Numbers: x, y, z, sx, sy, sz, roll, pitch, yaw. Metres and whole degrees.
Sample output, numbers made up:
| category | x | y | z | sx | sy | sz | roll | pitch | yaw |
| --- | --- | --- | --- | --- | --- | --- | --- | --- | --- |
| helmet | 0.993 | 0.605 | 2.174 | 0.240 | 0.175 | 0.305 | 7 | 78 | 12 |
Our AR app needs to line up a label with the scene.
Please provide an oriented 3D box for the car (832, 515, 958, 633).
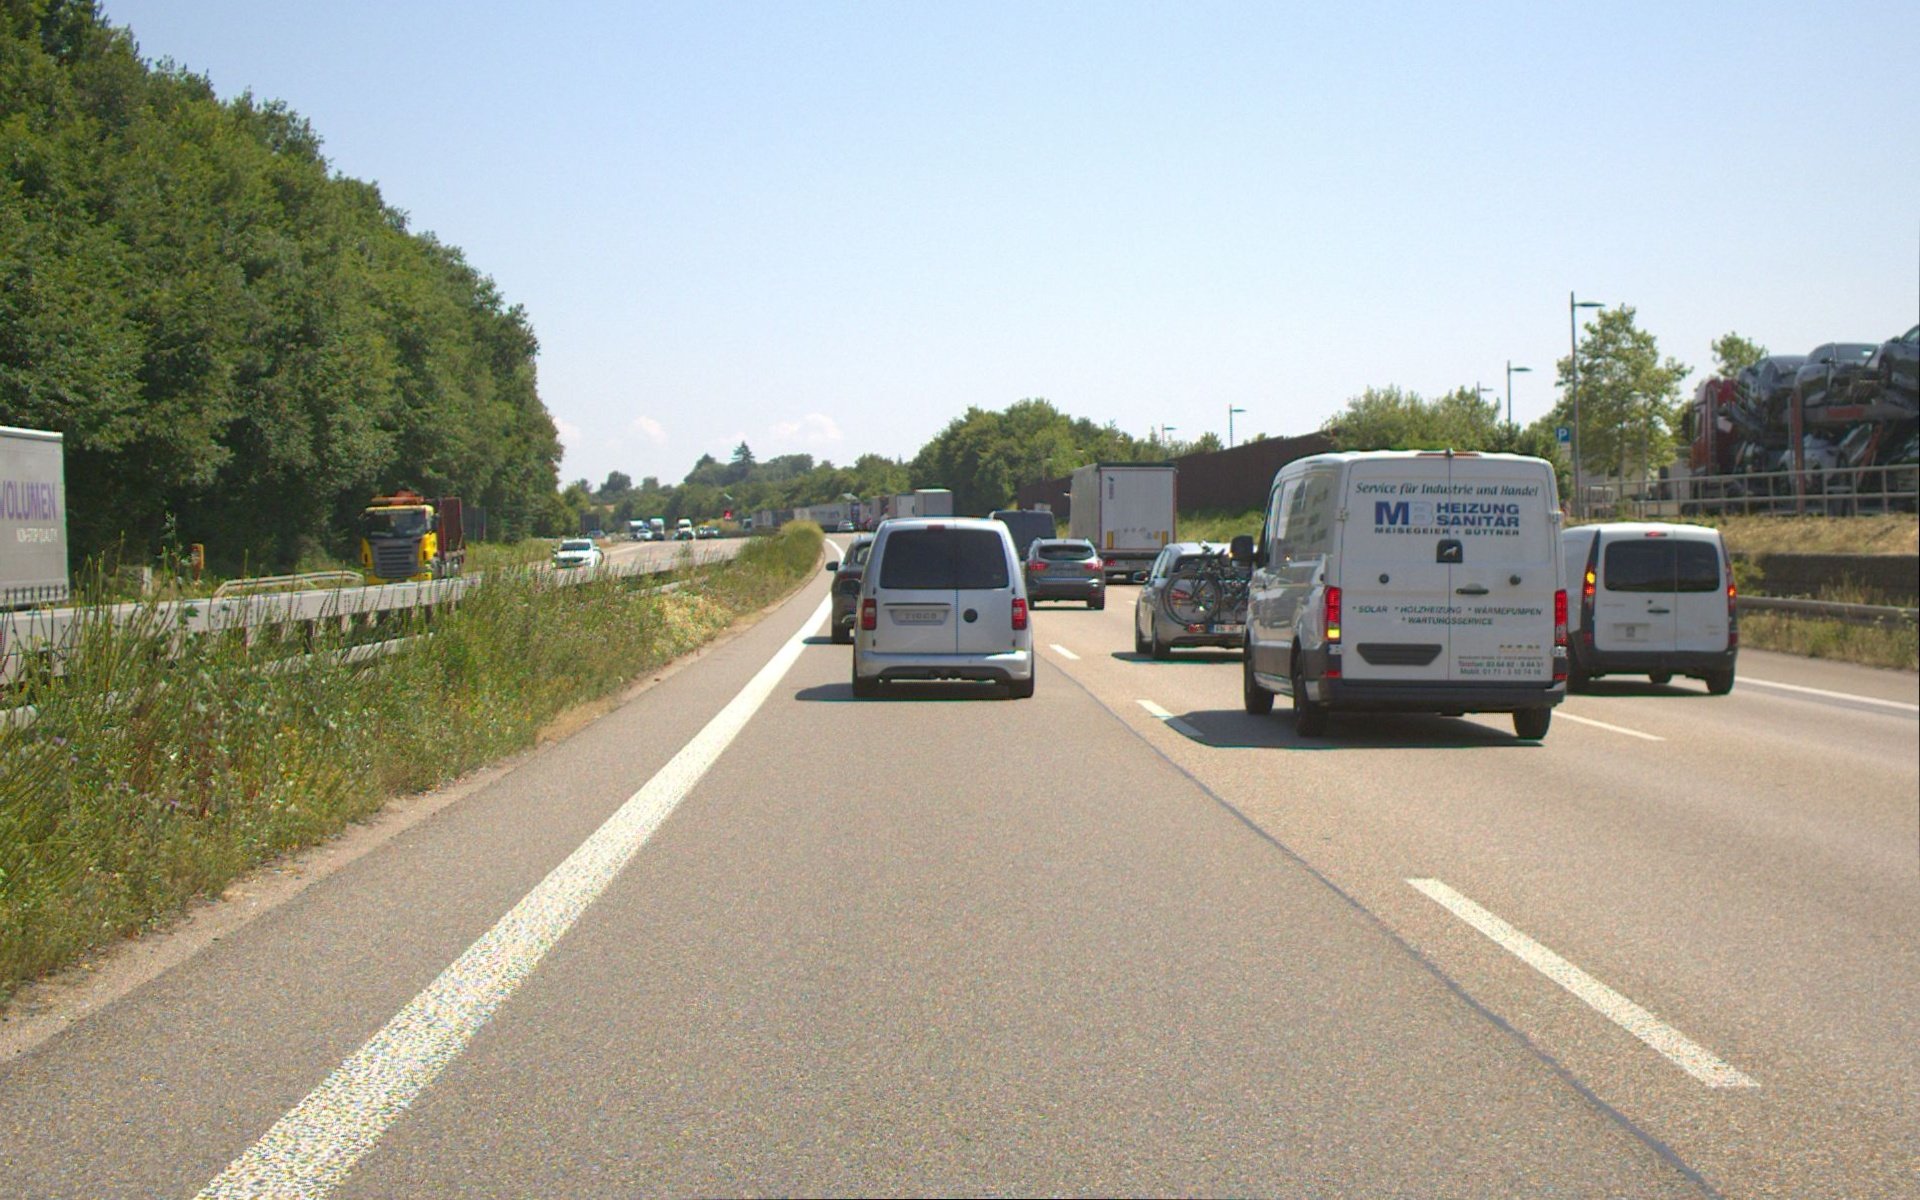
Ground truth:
| category | x | y | z | sx | sy | sz | roll | pitch | yaw |
| --- | --- | --- | --- | --- | --- | --- | --- | --- | --- |
| car | -0.953 | -0.401 | 52.328 | 1.745 | 1.695 | 4.088 | -1 | 1 | 1 |

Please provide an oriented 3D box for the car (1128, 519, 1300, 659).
| category | x | y | z | sx | sy | sz | roll | pitch | yaw |
| --- | --- | --- | --- | --- | --- | --- | --- | --- | --- |
| car | 3.312 | -0.163 | 45.489 | 1.976 | 1.727 | 4.088 | -1 | 1 | 1 |

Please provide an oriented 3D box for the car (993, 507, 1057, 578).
| category | x | y | z | sx | sy | sz | roll | pitch | yaw |
| --- | --- | --- | --- | --- | --- | --- | --- | --- | --- |
| car | 1.782 | -1.574 | 95.136 | 1.674 | 1.885 | 4.088 | -1 | 1 | 1 |

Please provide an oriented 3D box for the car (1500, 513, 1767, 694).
| category | x | y | z | sx | sy | sz | roll | pitch | yaw |
| --- | --- | --- | --- | --- | --- | --- | --- | --- | --- |
| car | 7.243 | 0.013 | 37.372 | 1.950 | 1.831 | 4.179 | -1 | 1 | -1 |

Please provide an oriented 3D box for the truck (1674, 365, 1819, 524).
| category | x | y | z | sx | sy | sz | roll | pitch | yaw |
| --- | --- | --- | --- | --- | --- | --- | --- | --- | --- |
| truck | 19.818 | -3.882 | 86.782 | 2.602 | 3.814 | 4.000 | 1 | 1 | -1 |

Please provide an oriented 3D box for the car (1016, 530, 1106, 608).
| category | x | y | z | sx | sy | sz | roll | pitch | yaw |
| --- | --- | --- | --- | --- | --- | --- | --- | --- | --- |
| car | 2.230 | -0.693 | 77.064 | 1.902 | 1.666 | 4.088 | -1 | 1 | 1 |

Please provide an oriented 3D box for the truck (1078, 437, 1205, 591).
| category | x | y | z | sx | sy | sz | roll | pitch | yaw |
| --- | --- | --- | --- | --- | --- | --- | --- | --- | --- |
| truck | 6.189 | -2.894 | 119.322 | 3.788 | 4.982 | 12.518 | 1 | 1 | 1 |

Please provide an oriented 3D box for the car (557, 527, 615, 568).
| category | x | y | z | sx | sy | sz | roll | pitch | yaw |
| --- | --- | --- | --- | --- | --- | --- | --- | --- | --- |
| car | -16.479 | -2.298 | 151.654 | 1.993 | 1.665 | 5.612 | -2 | 1 | -1 |

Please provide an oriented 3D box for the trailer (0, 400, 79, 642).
| category | x | y | z | sx | sy | sz | roll | pitch | yaw |
| --- | --- | --- | --- | --- | --- | --- | --- | --- | --- |
| trailer | -18.752 | -1.439 | 62.878 | 3.453 | 4.265 | 7.971 | 1 | 1 | -2 |

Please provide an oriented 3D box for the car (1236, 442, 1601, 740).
| category | x | y | z | sx | sy | sz | roll | pitch | yaw |
| --- | --- | --- | --- | --- | --- | --- | --- | --- | --- |
| car | 3.698 | -0.100 | 28.794 | 2.181 | 2.246 | 5.364 | 1 | 1 | -1 |

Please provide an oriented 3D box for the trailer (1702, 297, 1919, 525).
| category | x | y | z | sx | sy | sz | roll | pitch | yaw |
| --- | --- | --- | --- | --- | --- | --- | --- | --- | --- |
| trailer | 20.009 | -3.919 | 76.428 | 2.605 | 4.243 | 18.423 | 1 | 1 | -1 |

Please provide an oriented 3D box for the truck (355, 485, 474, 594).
| category | x | y | z | sx | sy | sz | roll | pitch | yaw |
| --- | --- | --- | --- | --- | --- | --- | --- | --- | --- |
| truck | -19.672 | -2.148 | 124.665 | 2.782 | 3.726 | 11.159 | 1 | 1 | -2 |

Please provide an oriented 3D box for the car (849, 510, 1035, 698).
| category | x | y | z | sx | sy | sz | roll | pitch | yaw |
| --- | --- | --- | --- | --- | --- | --- | --- | --- | --- |
| car | -0.156 | 0.016 | 34.787 | 1.745 | 1.758 | 4.088 | -1 | 1 | 1 |
